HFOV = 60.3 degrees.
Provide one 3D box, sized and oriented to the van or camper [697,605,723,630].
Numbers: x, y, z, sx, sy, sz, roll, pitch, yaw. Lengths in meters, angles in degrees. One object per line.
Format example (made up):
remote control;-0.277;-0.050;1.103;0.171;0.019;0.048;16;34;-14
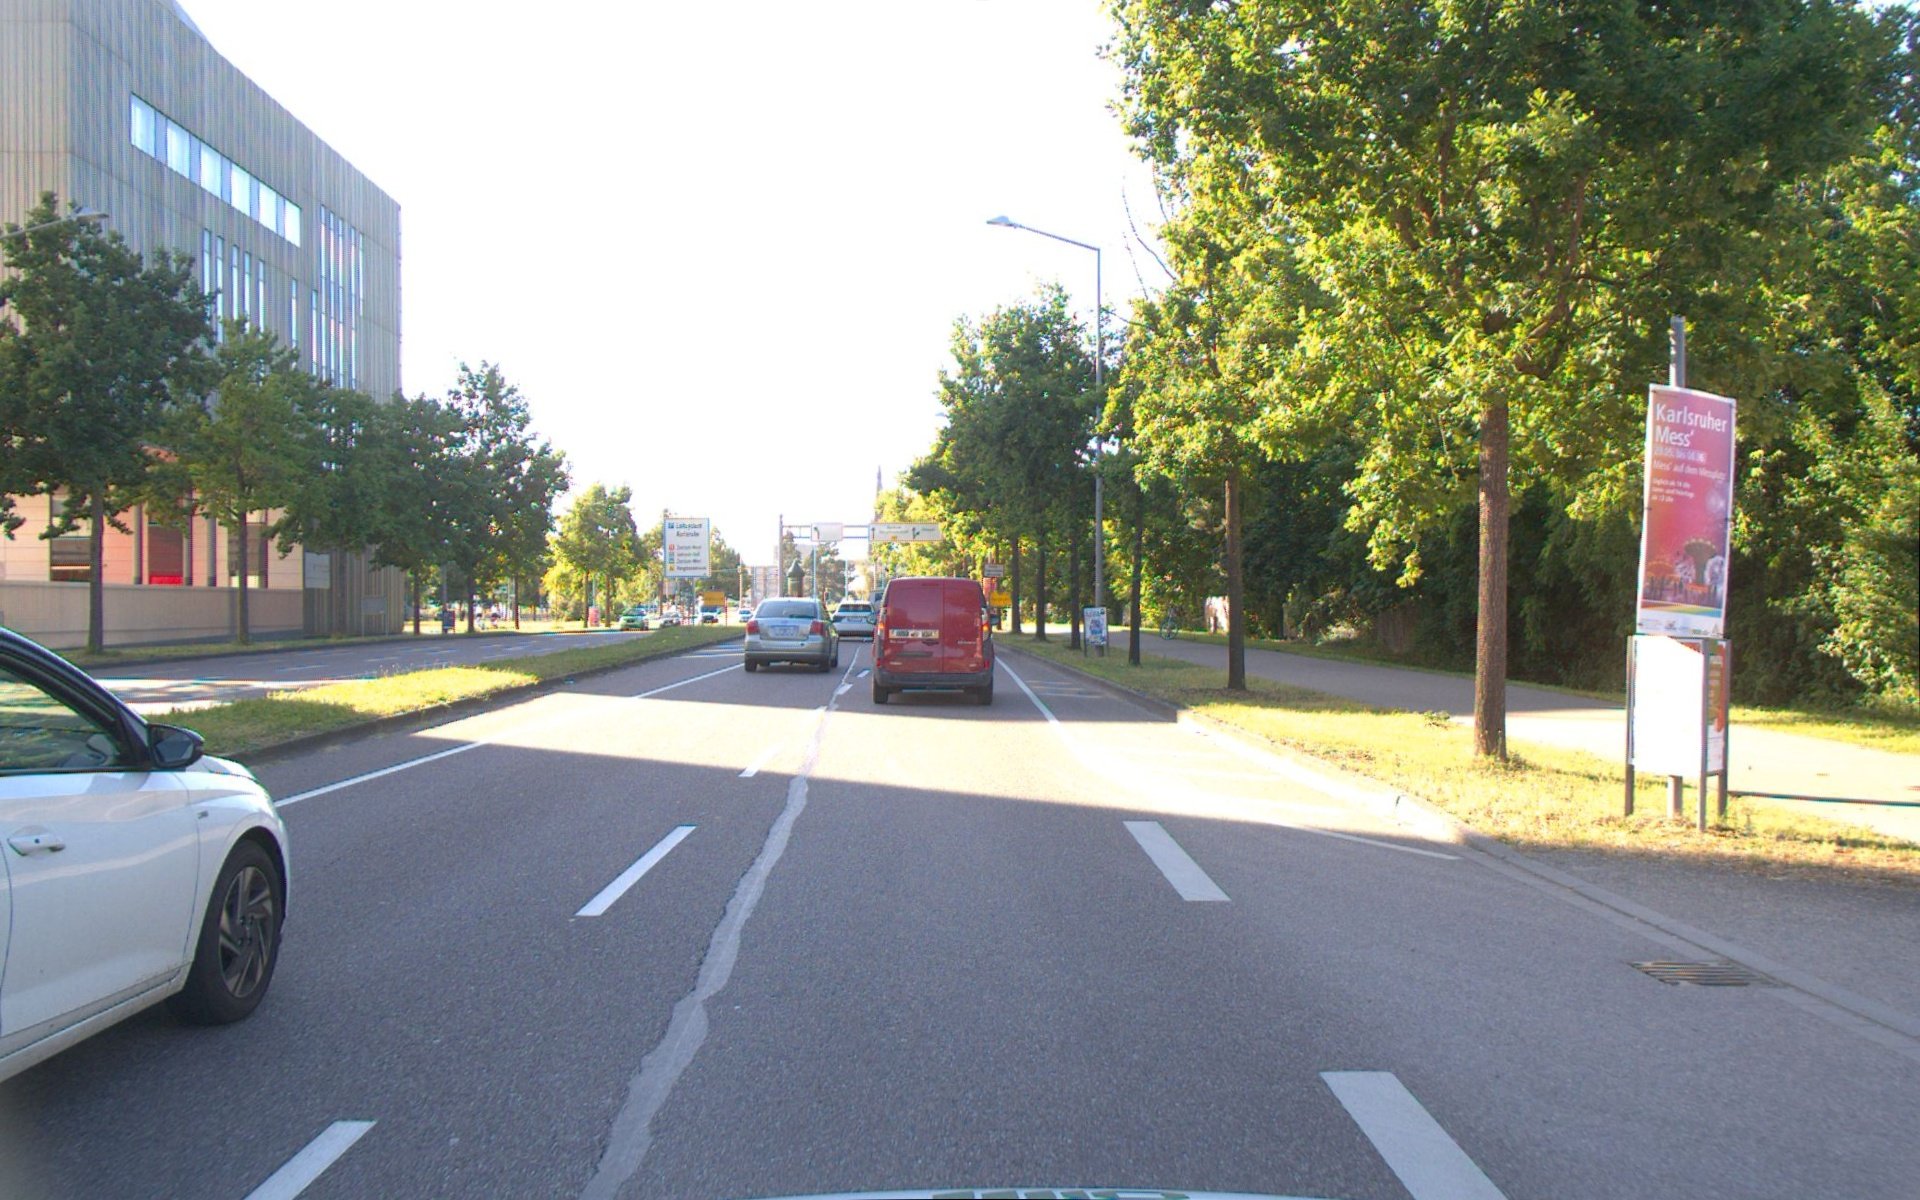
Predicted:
van or camper;-25.176;1.722;166.890;1.954;2.410;5.989;-2;0;-3

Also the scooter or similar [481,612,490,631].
scooter or similar;-28.983;1.314;101.043;0.226;1.169;1.327;0;-1;-2

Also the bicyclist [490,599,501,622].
bicyclist;-29.783;0.678;106.095;0.551;1.417;0.747;0;-1;-4

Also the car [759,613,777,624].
car;-20.985;1.992;180.788;1.792;1.131;4.170;0;0;-5

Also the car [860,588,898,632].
car;-3.603;0.415;73.083;1.628;1.889;3.556;0;0;-3

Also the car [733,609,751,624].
car;-22.595;1.666;171.665;1.655;1.502;4.045;0;0;-5

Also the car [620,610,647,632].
car;-22.068;1.419;111.826;1.417;1.461;3.457;0;0;-4

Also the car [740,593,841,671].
car;-3.435;0.628;34.136;1.804;1.482;4.160;1;0;-2

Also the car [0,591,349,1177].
car;-3.227;0.693;4.358;1.742;1.433;4.074;0;0;-1

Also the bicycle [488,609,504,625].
bicycle;-29.778;1.092;106.091;0.559;1.021;2.094;0;-1;-4

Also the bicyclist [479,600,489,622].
bicyclist;-30.590;0.688;106.270;0.472;1.419;0.844;0;-1;-4

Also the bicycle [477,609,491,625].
bicycle;-30.585;1.100;106.292;0.477;1.021;2.094;0;-1;-4

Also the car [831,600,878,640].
car;-3.779;0.704;59.693;1.628;1.422;3.556;0;0;-3

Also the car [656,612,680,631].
car;-24.067;1.735;136.424;1.520;1.534;4.023;0;0;-4

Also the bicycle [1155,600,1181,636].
bicycle;6.776;0.565;53.993;0.757;1.151;1.709;0;0;5

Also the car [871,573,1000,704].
car;-0.443;0.532;24.897;1.770;1.790;4.003;1;0;-3
